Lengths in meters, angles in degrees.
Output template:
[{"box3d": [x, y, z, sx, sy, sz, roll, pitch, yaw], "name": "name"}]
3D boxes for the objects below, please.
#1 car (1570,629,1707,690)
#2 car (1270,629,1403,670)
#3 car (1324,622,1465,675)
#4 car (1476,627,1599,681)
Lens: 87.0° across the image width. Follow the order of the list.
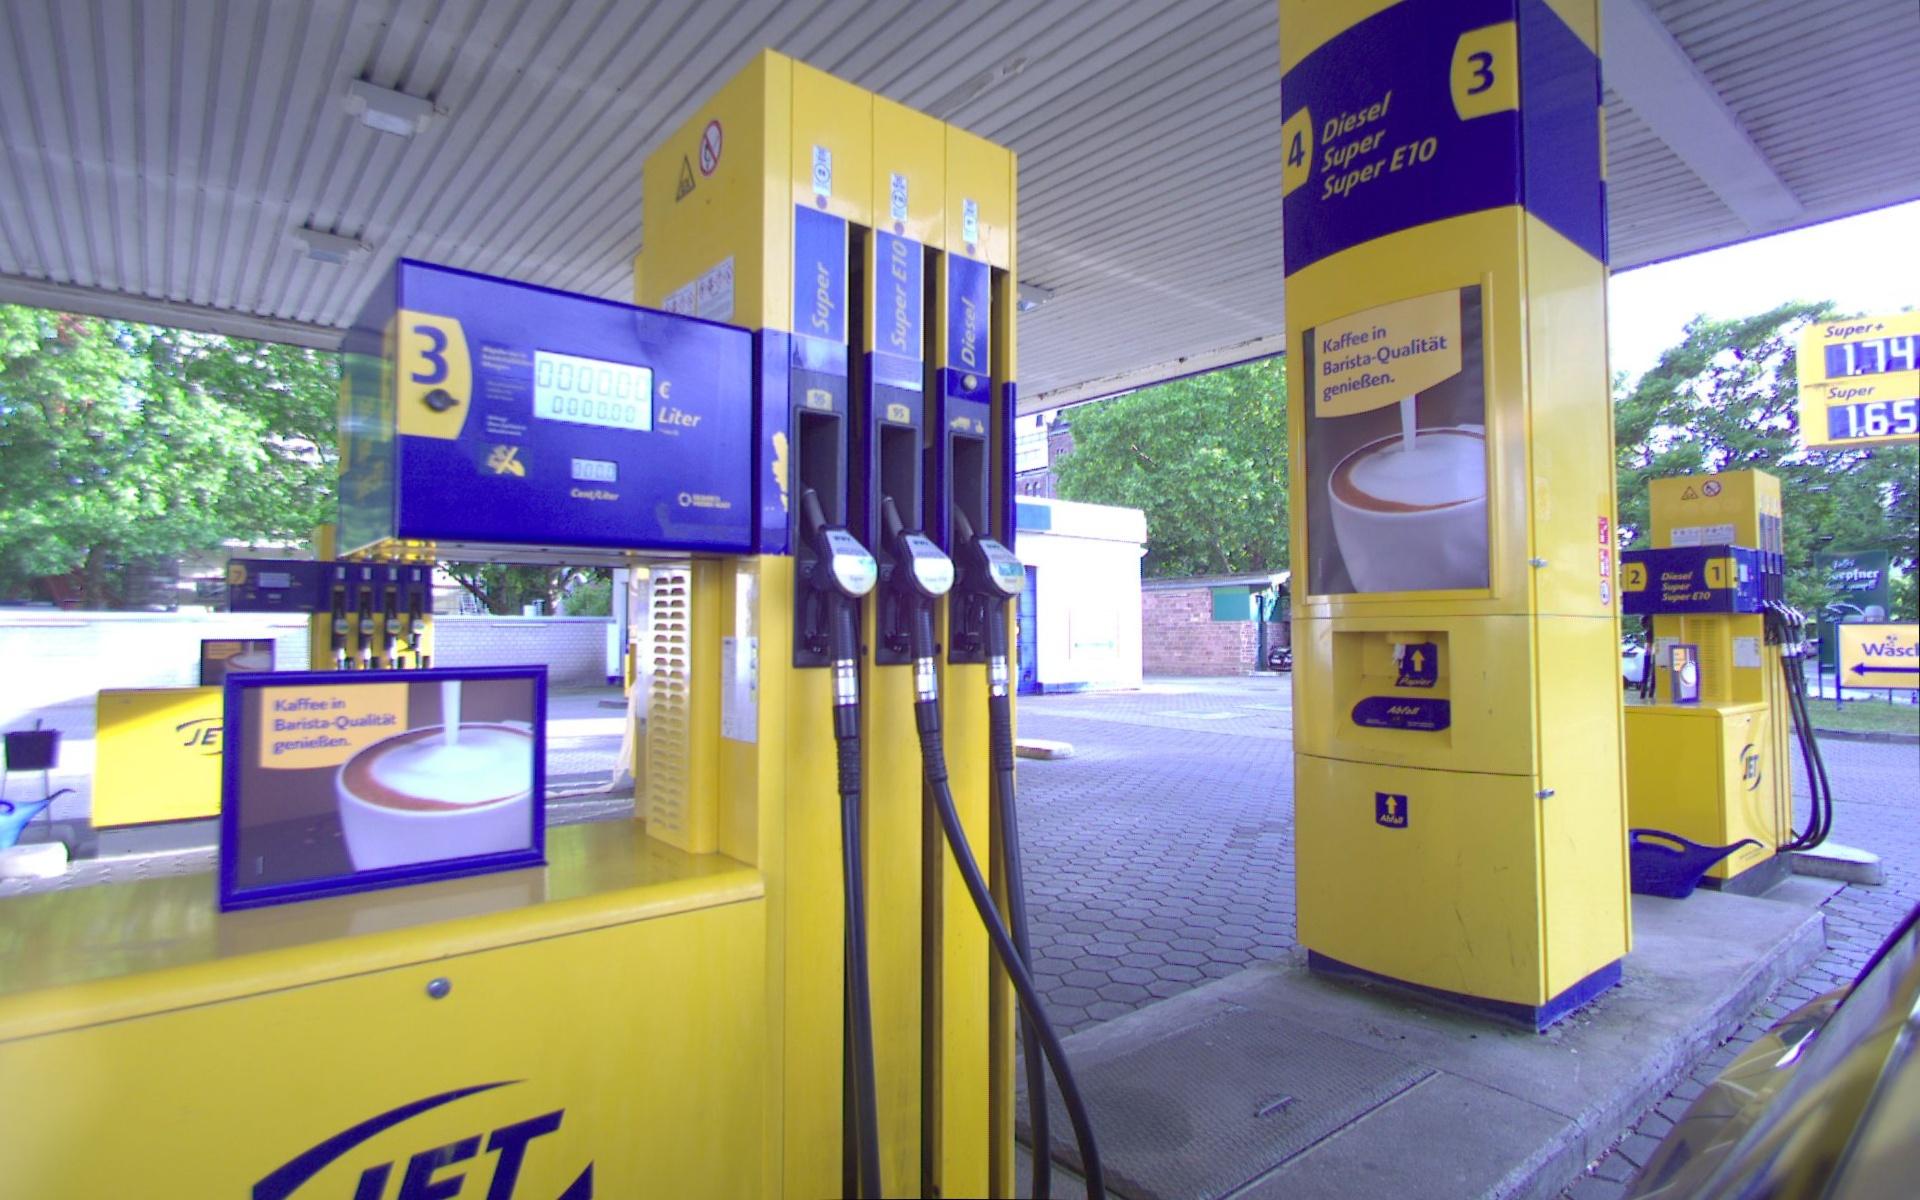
[{"box3d": [18.224, 1.565, 27.154, 3.923, 1.529, 1.740, 2, -3, -35], "name": "car"}, {"box3d": [12.832, 1.700, 34.490, 4.134, 1.294, 1.751, 2, -3, -22], "name": "car"}, {"box3d": [13.792, 1.549, 32.141, 4.134, 1.544, 1.791, 2, -3, -24], "name": "car"}, {"box3d": [17.558, 1.643, 30.742, 3.923, 1.529, 1.740, 3, -3, -35], "name": "car"}]
